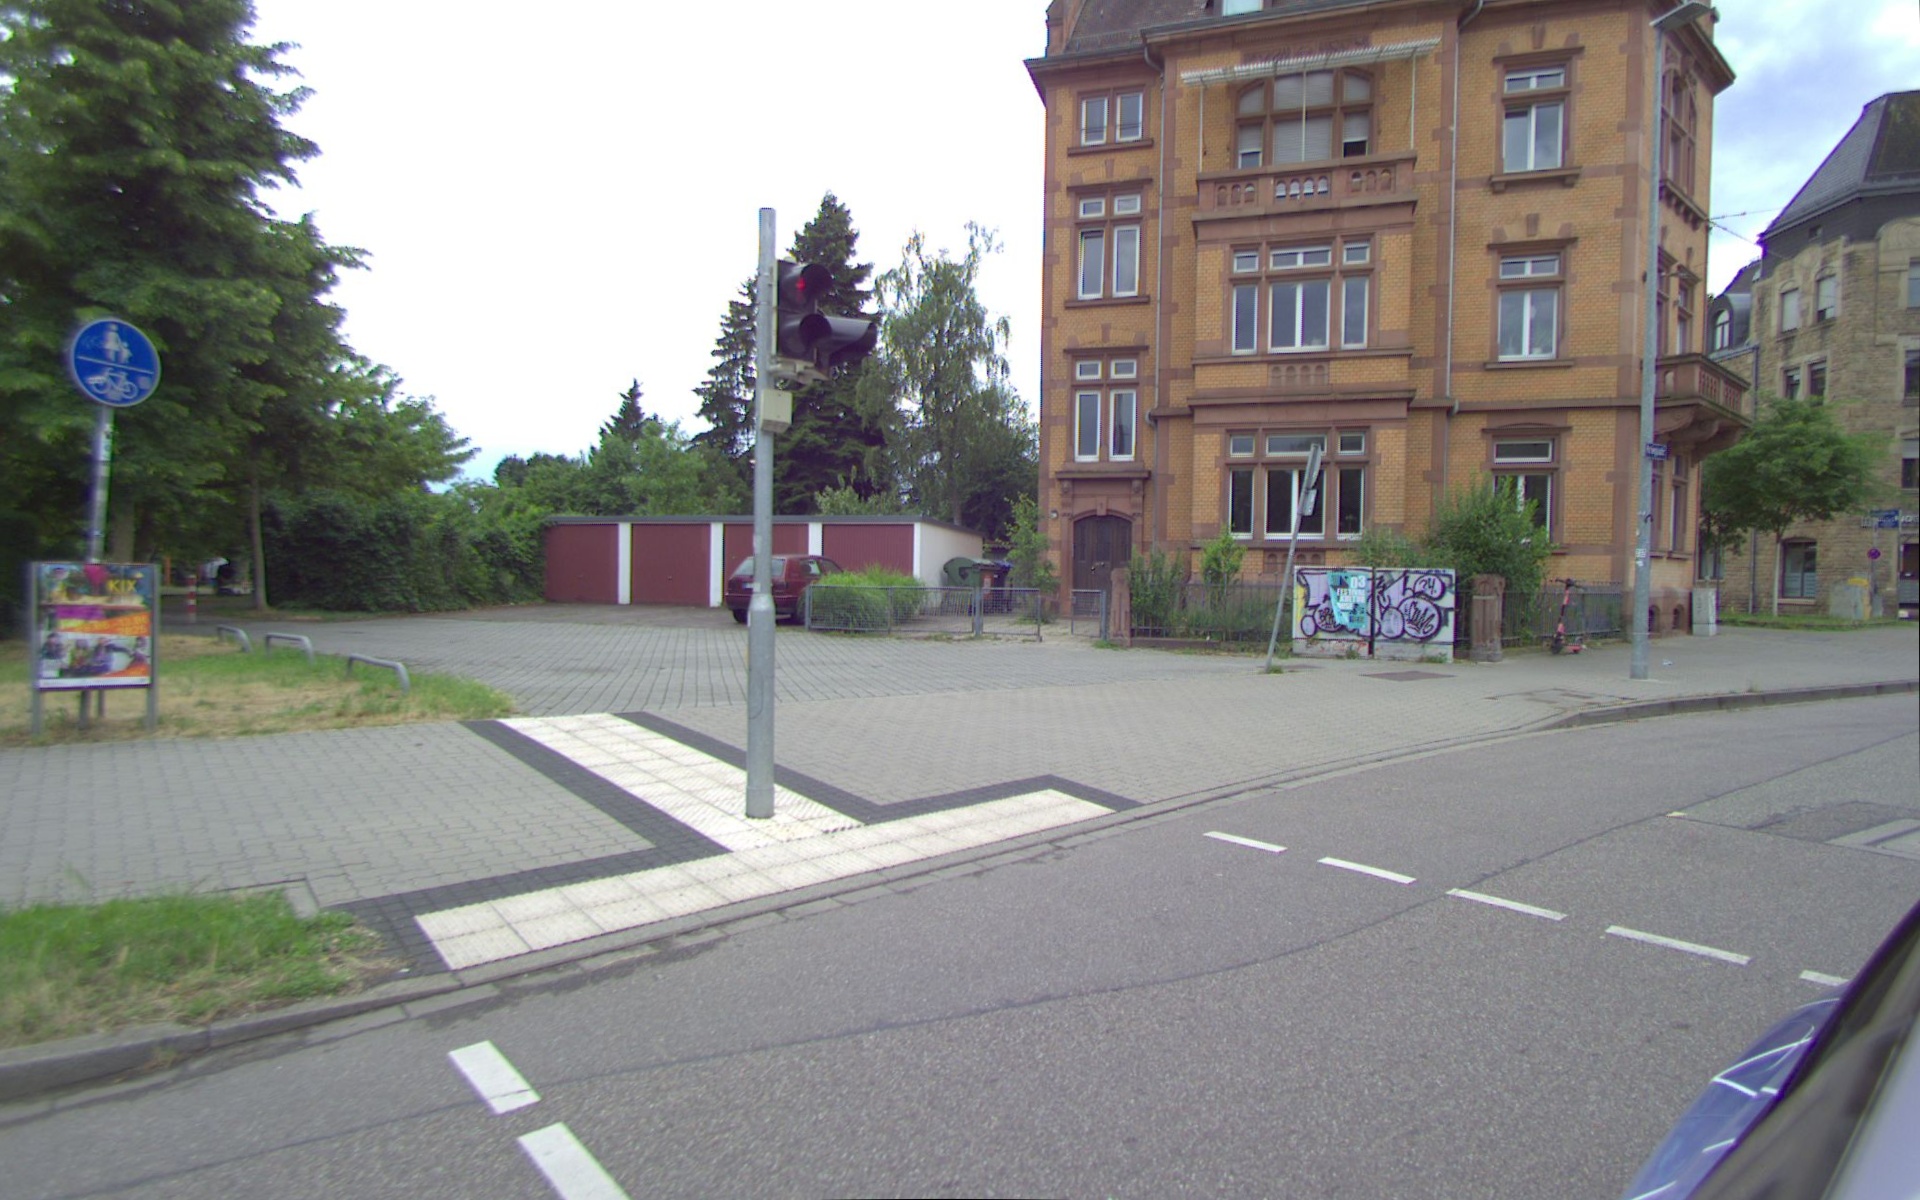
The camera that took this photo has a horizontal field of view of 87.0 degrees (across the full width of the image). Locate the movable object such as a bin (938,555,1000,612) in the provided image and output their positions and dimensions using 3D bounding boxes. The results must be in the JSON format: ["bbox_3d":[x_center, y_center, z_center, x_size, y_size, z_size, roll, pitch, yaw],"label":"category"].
[{"bbox_3d":[0.253,-0.445,26.077,1.145,1.407,1.452,1,2,22],"label":"movable object such as a bin"}]

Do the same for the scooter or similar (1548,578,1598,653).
[{"bbox_3d":[9.939,0.233,16.397,1.180,1.155,0.376,-1,2,-44],"label":"scooter or similar"}]

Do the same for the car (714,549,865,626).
[{"bbox_3d":[-3.554,-0.331,21.637,1.672,1.469,3.462,2,3,21],"label":"car"}]

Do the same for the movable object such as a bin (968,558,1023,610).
[{"bbox_3d":[1.009,-0.460,28.453,1.145,1.407,1.452,1,2,22],"label":"movable object such as a bin"}]

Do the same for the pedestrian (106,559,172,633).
[{"bbox_3d":[-13.571,-0.077,16.747,0.616,1.197,0.591,1,1,7],"label":"pedestrian"}]

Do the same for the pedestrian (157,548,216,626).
[{"bbox_3d":[-14.064,-0.239,18.413,0.616,1.374,0.591,1,1,7],"label":"pedestrian"}]
